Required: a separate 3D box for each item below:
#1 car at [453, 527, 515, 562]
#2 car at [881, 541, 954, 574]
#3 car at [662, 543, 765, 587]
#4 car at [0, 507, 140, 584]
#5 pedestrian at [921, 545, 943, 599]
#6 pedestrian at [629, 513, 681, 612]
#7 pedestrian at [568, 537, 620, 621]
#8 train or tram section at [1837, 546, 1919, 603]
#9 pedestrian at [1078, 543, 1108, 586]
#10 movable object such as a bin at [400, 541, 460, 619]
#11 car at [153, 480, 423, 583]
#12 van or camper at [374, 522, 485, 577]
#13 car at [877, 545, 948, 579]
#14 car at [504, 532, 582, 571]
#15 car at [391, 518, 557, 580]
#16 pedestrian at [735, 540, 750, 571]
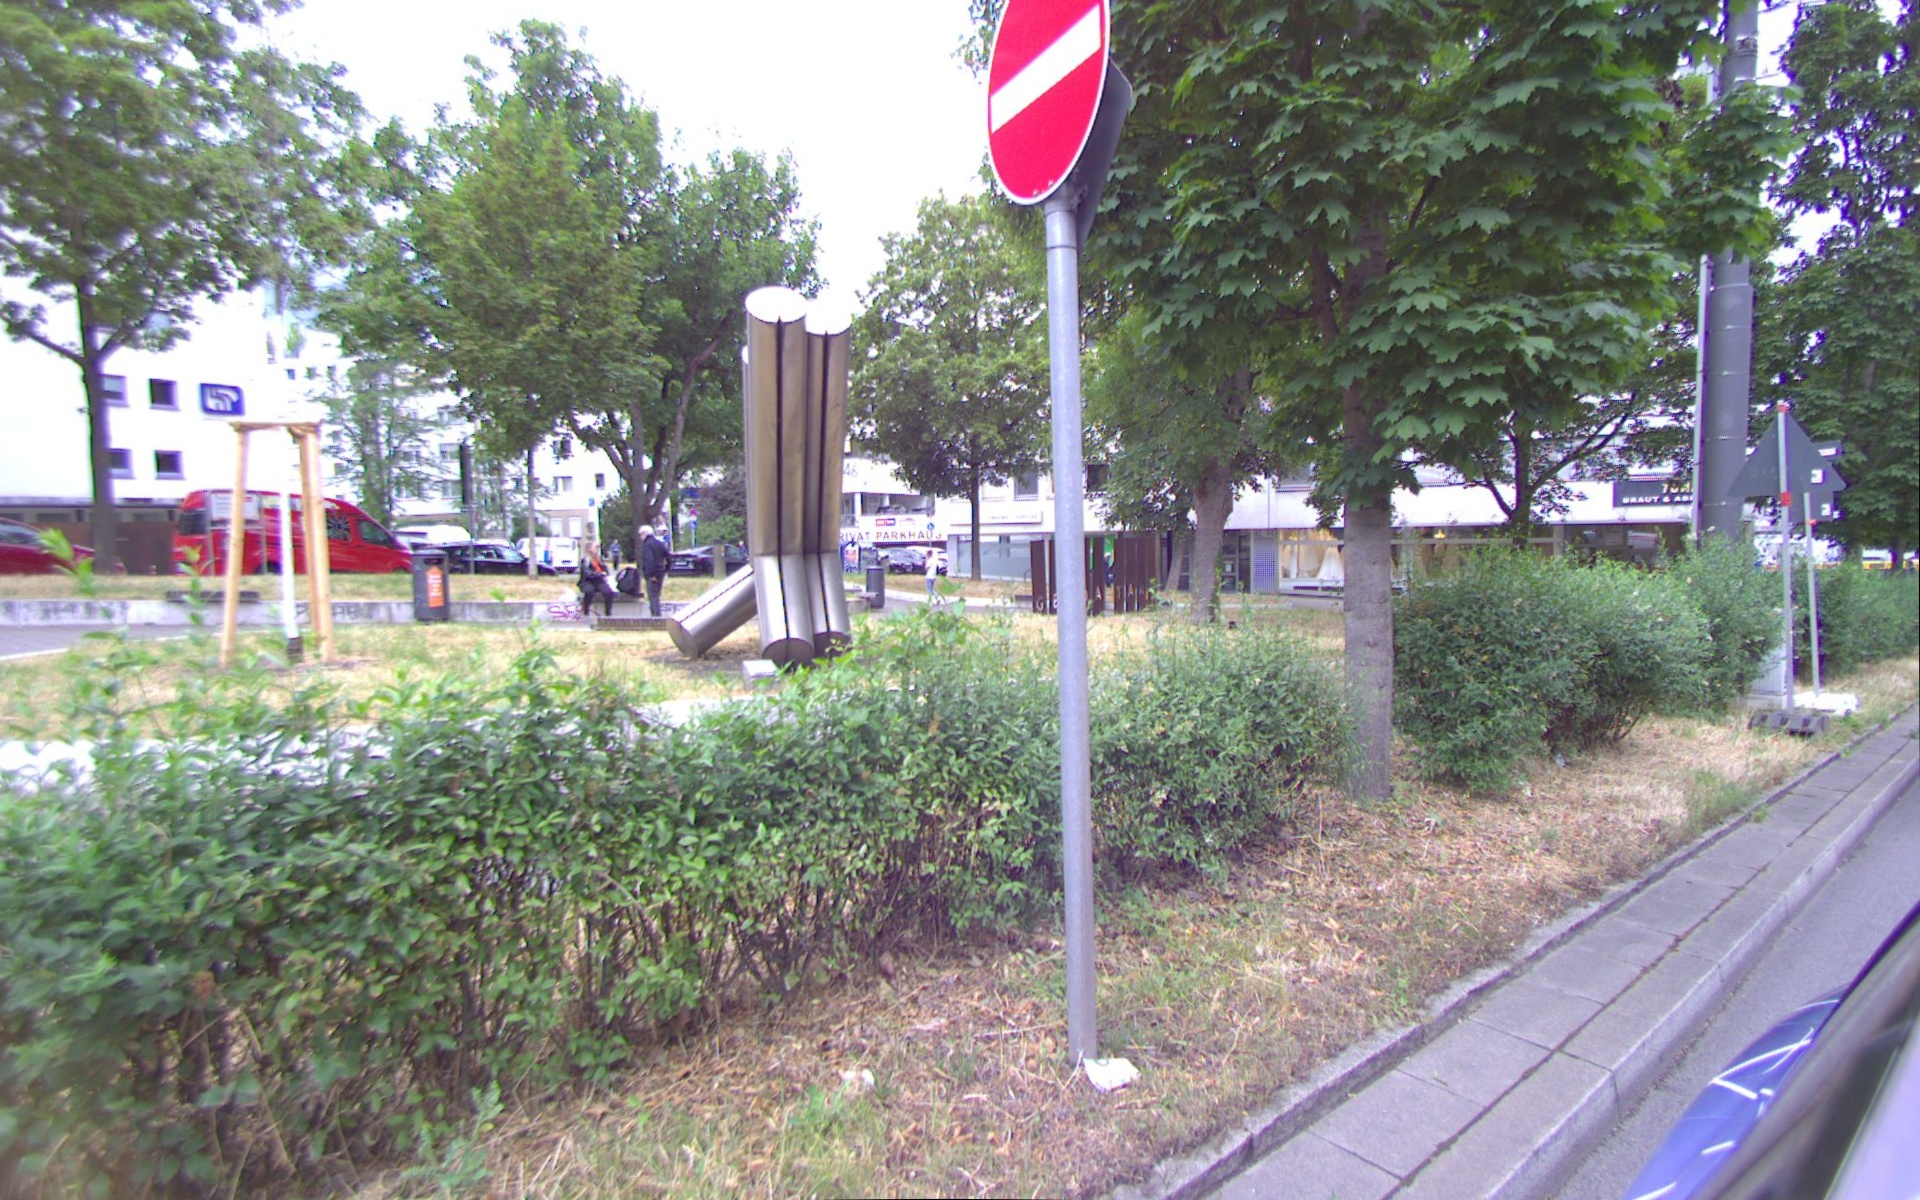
[{"bbox_3d":[-28.172,-3.277,59.911,3.638,1.824,1.601,-2,1,33],"label":"car"},{"bbox_3d":[-2.290,-2.285,54.791,3.583,1.694,1.588,2,2,22],"label":"car"},{"bbox_3d":[-9.434,-1.375,39.087,1.733,1.516,4.120,-2,2,23],"label":"car"},{"bbox_3d":[-17.297,-0.948,18.021,1.600,1.295,3.896,-2,1,21],"label":"car"},{"bbox_3d":[-0.820,-0.816,29.188,0.529,1.541,0.574,1,2,-8],"label":"pedestrian"},{"bbox_3d":[-4.899,-0.603,16.268,0.609,1.561,0.549,0,2,-43],"label":"pedestrian"},{"bbox_3d":[-5.888,-0.340,16.264,0.609,1.317,0.549,0,2,-43],"label":"pedestrian"},{"bbox_3d":[61.861,-1.650,64.084,2.846,3.484,14.183,-3,1,12],"label":"train or tram section"},{"bbox_3d":[5.319,-1.422,40.517,0.876,1.722,0.865,2,2,38],"label":"pedestrian"},{"bbox_3d":[-7.685,-0.292,14.673,0.599,1.095,0.670,-3,1,-40],"label":"movable object such as a bin"},{"bbox_3d":[-15.376,-1.497,23.545,2.004,2.053,4.948,-2,1,21],"label":"car"},{"bbox_3d":[-24.827,-2.328,47.309,5.404,2.258,2.273,-2,1,35],"label":"van or camper"},{"bbox_3d":[-2.452,-1.959,52.319,3.348,1.669,1.588,2,2,22],"label":"car"},{"bbox_3d":[-23.138,-2.648,56.112,4.438,1.909,1.974,-2,1,37],"label":"car"},{"bbox_3d":[-13.462,-1.362,28.313,1.731,1.527,4.121,-2,0,21],"label":"car"},{"bbox_3d":[-11.751,-2.404,54.681,0.567,1.688,0.498,2,2,21],"label":"pedestrian"}]
